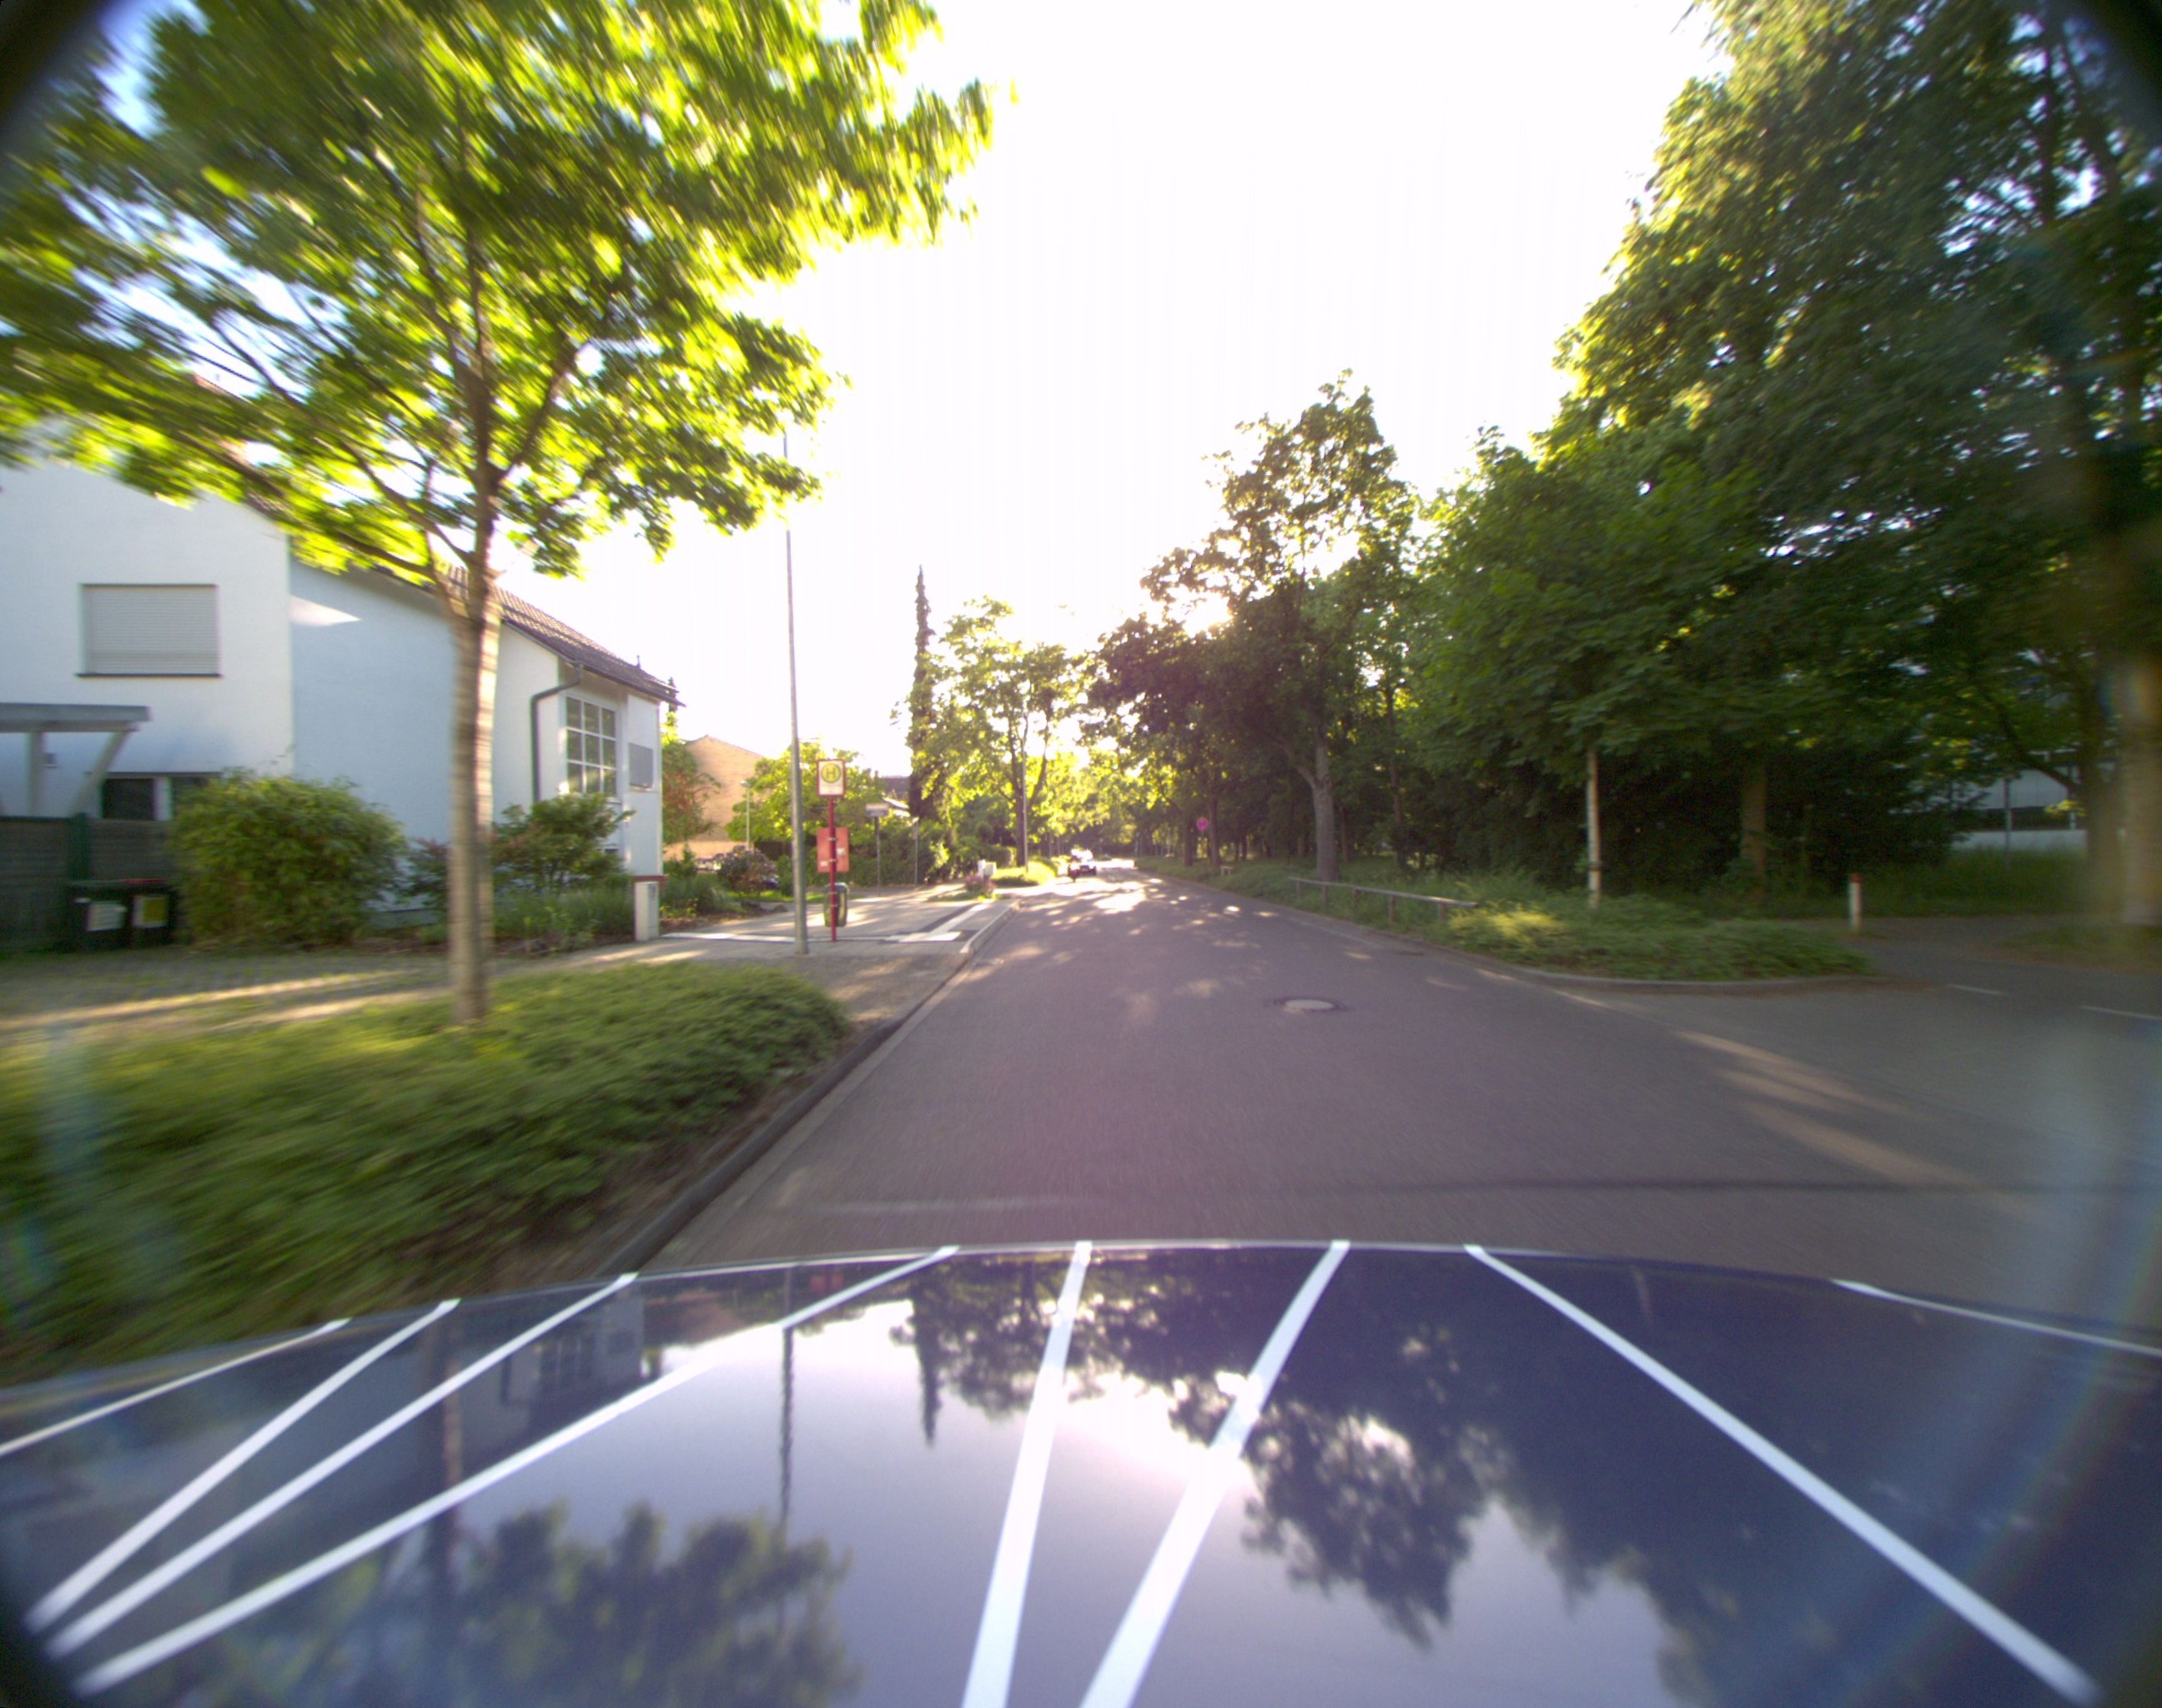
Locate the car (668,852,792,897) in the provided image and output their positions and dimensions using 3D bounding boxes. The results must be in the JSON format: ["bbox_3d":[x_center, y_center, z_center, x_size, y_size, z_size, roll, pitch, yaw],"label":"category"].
[{"bbox_3d":[-12.903,0.714,28.098,3.742,1.493,1.690,-2,1,-5],"label":"car"}]

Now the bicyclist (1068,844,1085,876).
[{"bbox_3d":[-0.248,0.310,40.790,0.819,1.635,0.744,-3,1,-1],"label":"bicyclist"}]

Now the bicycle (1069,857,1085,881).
[{"bbox_3d":[-0.218,0.795,40.874,0.829,1.182,2.301,-2,1,-1],"label":"bicycle"}]
